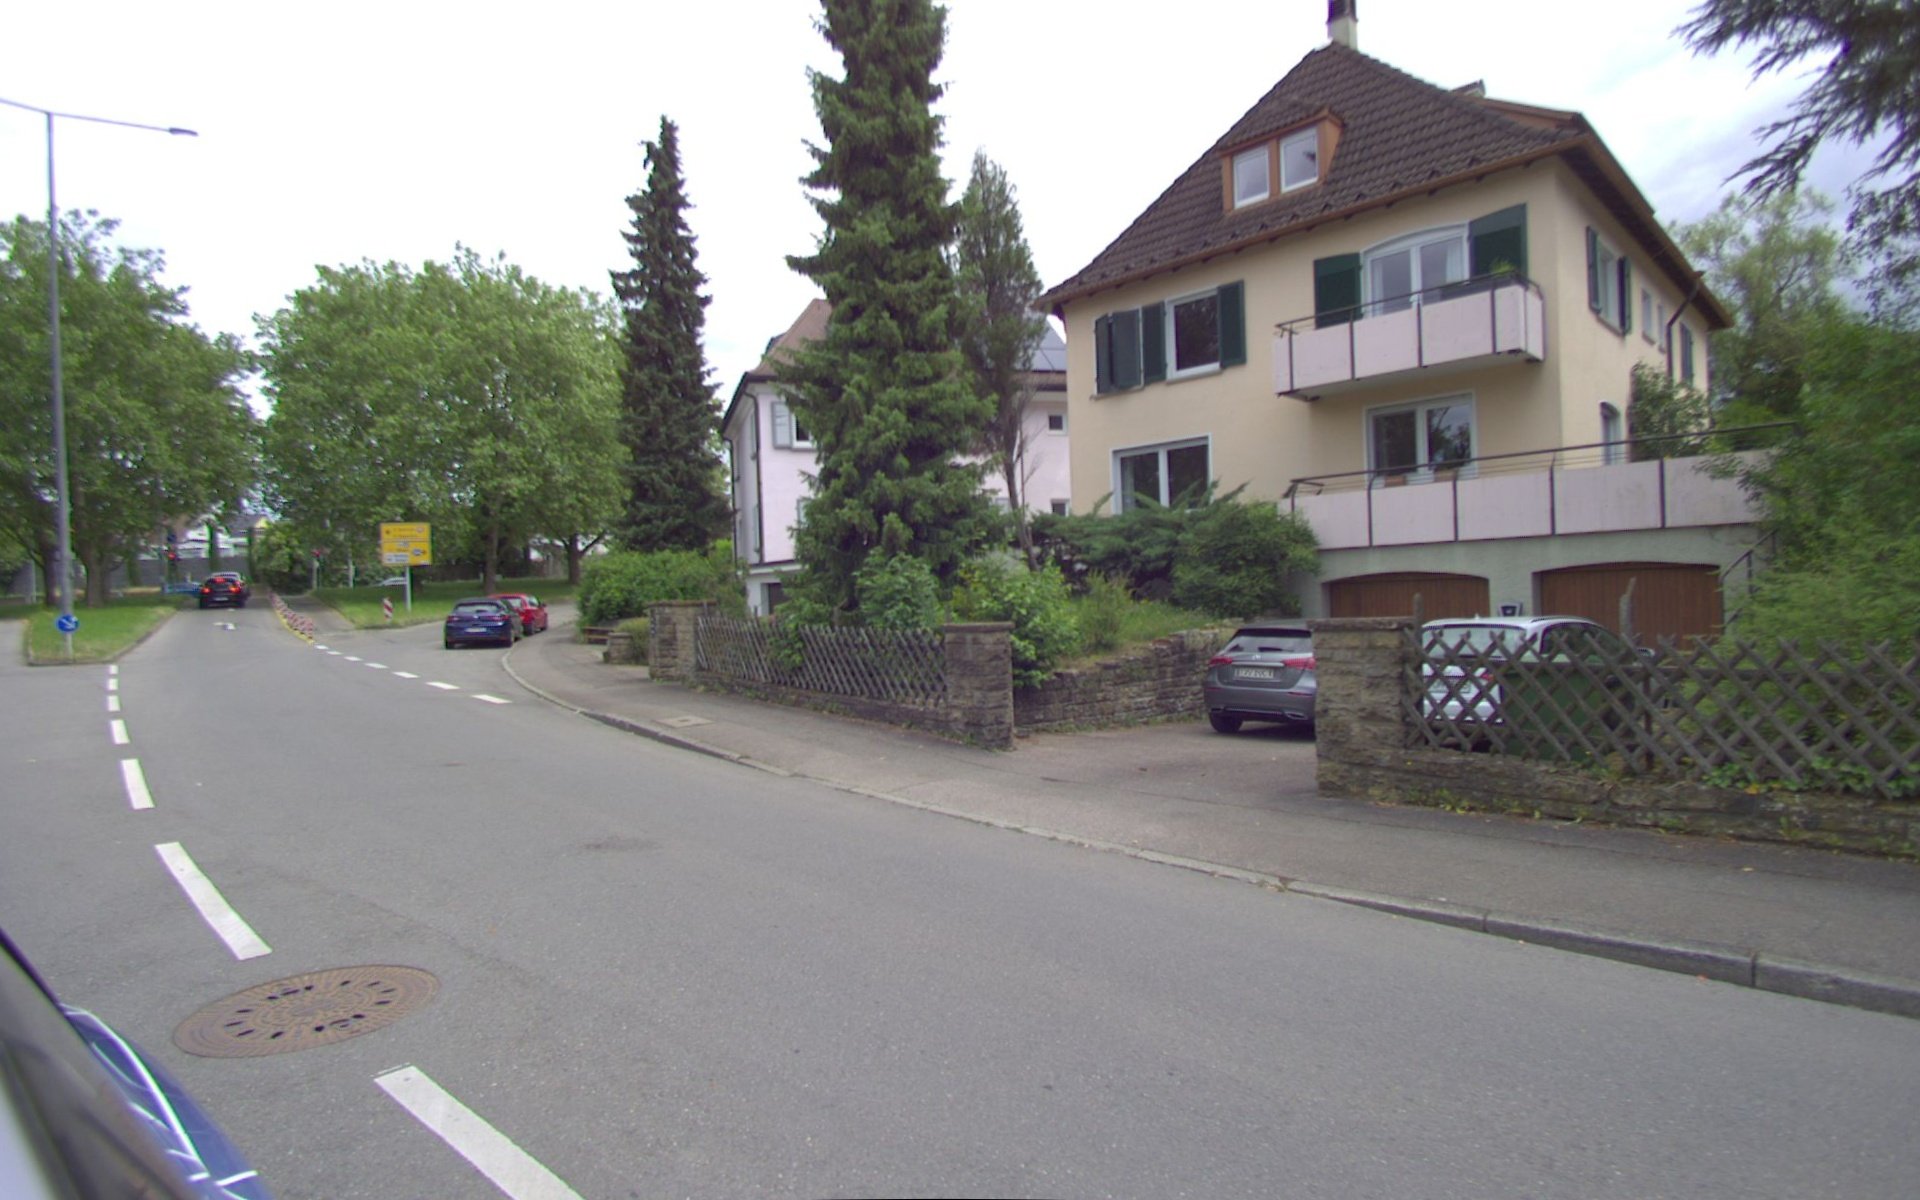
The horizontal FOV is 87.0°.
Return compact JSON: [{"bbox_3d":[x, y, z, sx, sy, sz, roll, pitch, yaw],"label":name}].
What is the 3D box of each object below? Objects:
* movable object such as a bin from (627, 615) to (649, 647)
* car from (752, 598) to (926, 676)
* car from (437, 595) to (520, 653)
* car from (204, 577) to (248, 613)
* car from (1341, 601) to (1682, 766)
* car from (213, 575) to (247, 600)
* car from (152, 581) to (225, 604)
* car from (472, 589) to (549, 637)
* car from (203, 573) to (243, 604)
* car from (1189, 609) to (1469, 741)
[{"bbox_3d":[-8.735,0.833,27.472,0.589,0.841,0.313,-1,1,45],"label":"movable object such as a bin"},{"bbox_3d":[-2.637,0.845,22.291,3.310,1.549,1.833,4,-4,-36],"label":"car"},{"bbox_3d":[-14.420,0.648,30.518,1.703,1.485,4.329,-2,2,-19],"label":"car"},{"bbox_3d":[-39.184,-0.306,54.116,1.734,1.603,4.625,-3,5,-35],"label":"car"},{"bbox_3d":[5.959,0.806,10.794,3.830,1.431,1.924,2,-3,-40],"label":"car"},{"bbox_3d":[-49.124,-0.873,68.132,1.734,1.528,4.398,-3,3,-35],"label":"car"},{"bbox_3d":[-58.766,-0.531,77.113,4.084,1.439,1.799,-3,-2,-5],"label":"car"},{"bbox_3d":[-15.685,0.399,35.527,1.704,1.485,4.290,-2,2,-14],"label":"car"},{"bbox_3d":[-45.500,-0.704,62.534,1.827,1.670,4.919,-4,1,-35],"label":"car"},{"bbox_3d":[4.747,0.888,12.864,3.508,1.431,1.832,2,-3,-40],"label":"car"}]
